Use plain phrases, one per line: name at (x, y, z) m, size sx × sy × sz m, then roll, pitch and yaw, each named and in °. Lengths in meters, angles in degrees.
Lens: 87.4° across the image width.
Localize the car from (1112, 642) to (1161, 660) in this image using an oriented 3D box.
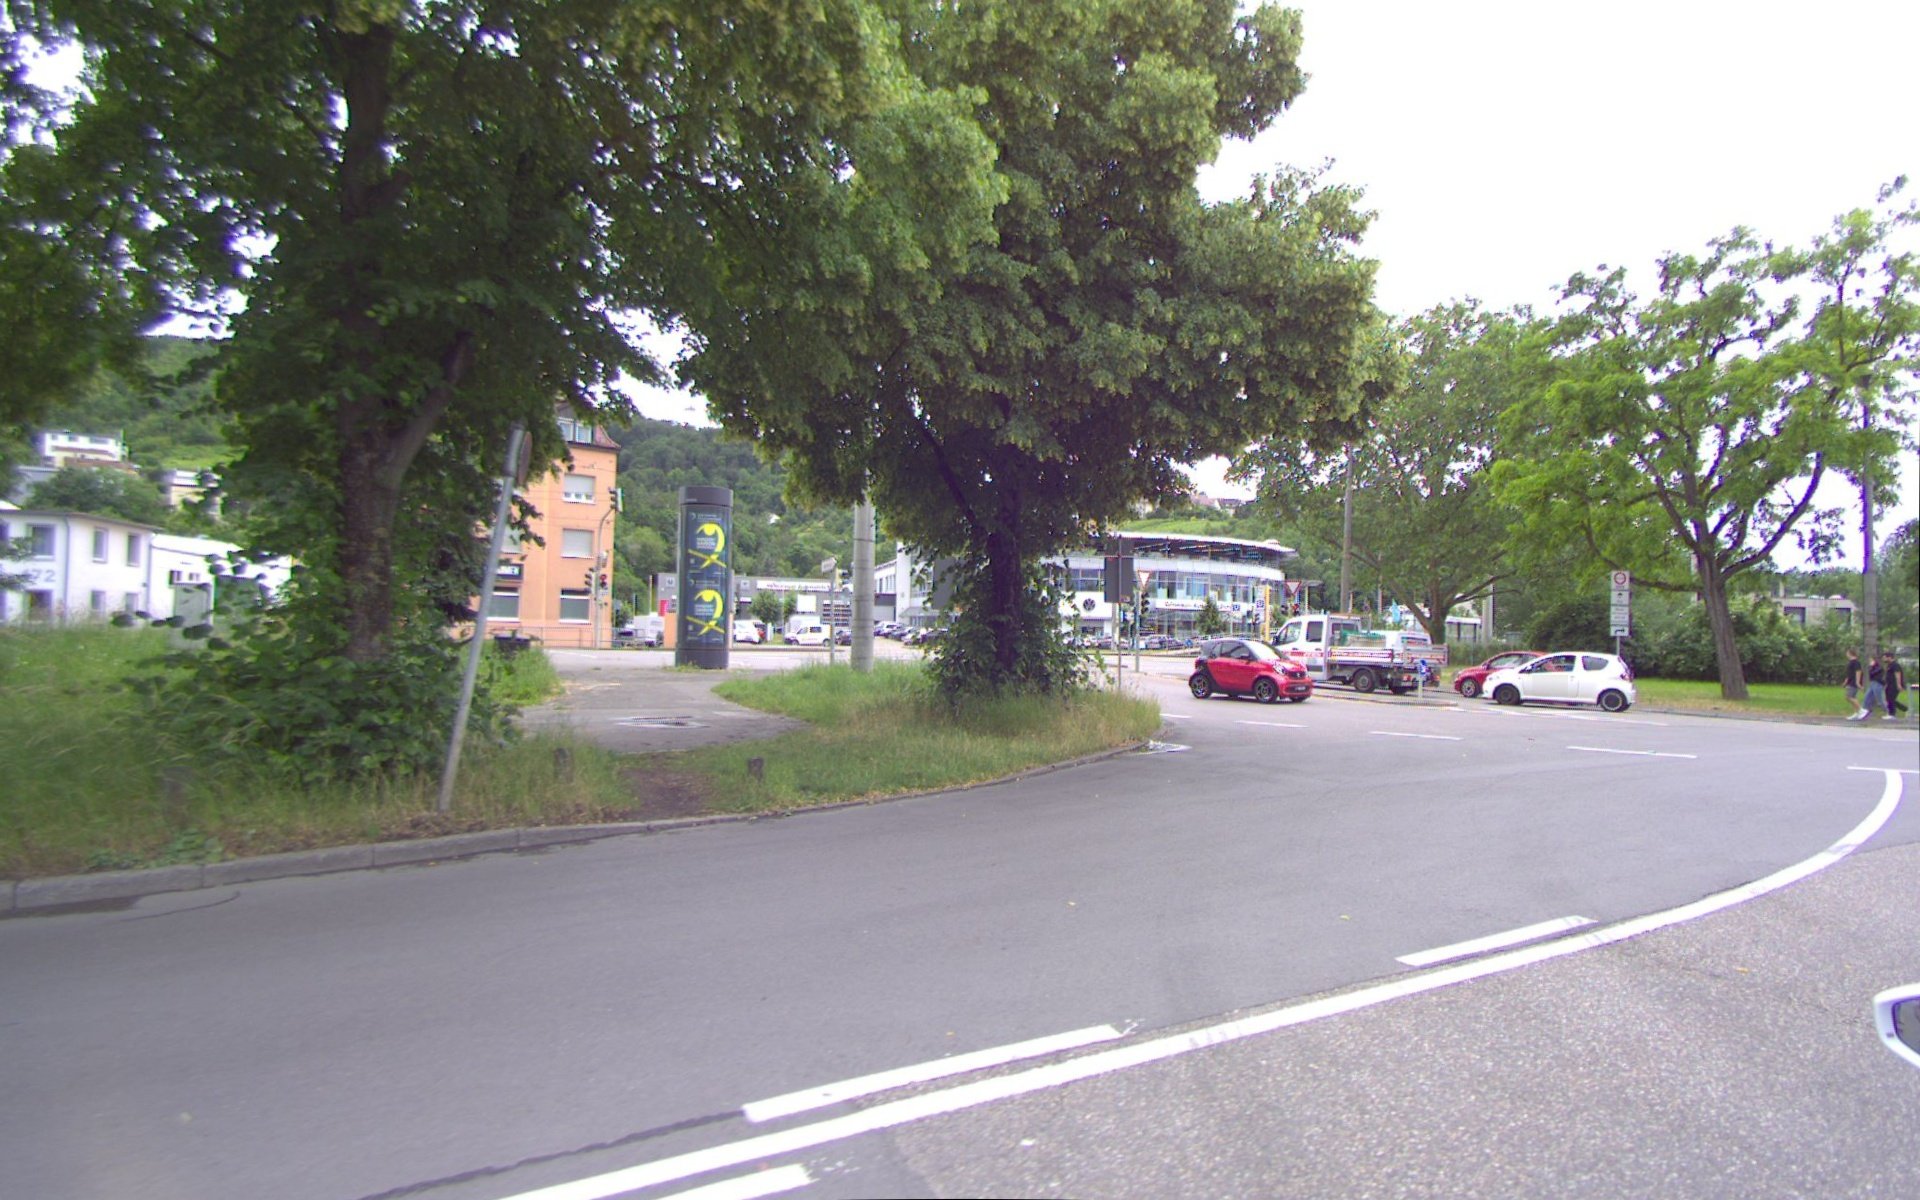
car at (17.537, 5.058, 99.708) m, size 4.436 × 1.714 × 1.990 m, roll -1°, pitch -3°, yaw 41°

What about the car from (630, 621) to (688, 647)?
car at (-26.698, 3.002, 89.136) m, size 2.234 × 2.234 × 4.484 m, roll -1°, pitch -3°, yaw 38°

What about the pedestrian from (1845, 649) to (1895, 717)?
pedestrian at (24.378, 2.200, 26.926) m, size 0.713 × 1.765 × 0.744 m, roll 0°, pitch -2°, yaw 16°

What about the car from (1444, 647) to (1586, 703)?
car at (16.536, 2.195, 30.049) m, size 1.624 × 1.497 × 3.374 m, roll 2°, pitch -2°, yaw -33°

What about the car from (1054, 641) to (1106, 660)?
car at (11.100, 4.654, 93.071) m, size 4.436 × 1.714 × 1.990 m, roll -1°, pitch -3°, yaw 41°

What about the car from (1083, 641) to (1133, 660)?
car at (14.189, 4.857, 96.375) m, size 4.436 × 1.714 × 1.990 m, roll -1°, pitch -3°, yaw 41°

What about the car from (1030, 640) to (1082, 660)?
car at (8.752, 4.558, 92.017) m, size 4.436 × 1.714 × 1.990 m, roll -1°, pitch -3°, yaw 41°

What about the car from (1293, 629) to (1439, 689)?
car at (14.139, 2.018, 35.352) m, size 2.017 × 1.967 × 4.974 m, roll 2°, pitch -2°, yaw -19°

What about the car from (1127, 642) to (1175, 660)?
car at (19.224, 5.153, 101.163) m, size 4.436 × 1.714 × 1.990 m, roll -1°, pitch -3°, yaw 41°

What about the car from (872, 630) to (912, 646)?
car at (-7.875, 4.428, 116.760) m, size 4.423 × 1.714 × 1.996 m, roll 1°, pitch -2°, yaw -11°

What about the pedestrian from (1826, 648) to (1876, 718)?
pedestrian at (23.268, 2.146, 26.243) m, size 0.713 × 1.765 × 0.744 m, roll 0°, pitch -2°, yaw 16°

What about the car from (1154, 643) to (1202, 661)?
car at (22.372, 5.311, 103.069) m, size 4.436 × 1.714 × 1.990 m, roll -1°, pitch -3°, yaw 41°

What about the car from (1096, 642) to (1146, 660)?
car at (15.682, 4.950, 98.002) m, size 4.436 × 1.714 × 1.990 m, roll -1°, pitch -3°, yaw 41°

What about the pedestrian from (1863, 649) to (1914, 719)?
pedestrian at (24.170, 2.175, 26.163) m, size 0.713 × 1.765 × 0.744 m, roll 0°, pitch -2°, yaw 16°

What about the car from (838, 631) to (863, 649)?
car at (-10.682, 3.878, 97.709) m, size 1.965 × 1.714 × 4.495 m, roll 1°, pitch -2°, yaw -11°

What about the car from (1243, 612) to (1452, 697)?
car at (12.046, 1.652, 31.735) m, size 2.367 × 2.419 × 6.041 m, roll 2°, pitch -2°, yaw -31°

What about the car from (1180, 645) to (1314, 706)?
car at (7.120, 1.837, 25.075) m, size 1.552 × 1.367 × 2.843 m, roll 3°, pitch -3°, yaw -42°

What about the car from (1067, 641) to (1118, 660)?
car at (12.506, 4.756, 94.709) m, size 4.436 × 1.714 × 1.990 m, roll -1°, pitch -3°, yaw 41°

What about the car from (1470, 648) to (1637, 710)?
car at (15.373, 2.005, 26.061) m, size 3.560 × 1.428 × 1.735 m, roll -1°, pitch -3°, yaw 38°

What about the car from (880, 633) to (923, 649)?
car at (-6.341, 4.480, 109.430) m, size 4.423 × 1.714 × 1.996 m, roll 1°, pitch -2°, yaw -11°

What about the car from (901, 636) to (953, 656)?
car at (-3.003, 4.126, 91.029) m, size 4.423 × 1.714 × 1.996 m, roll 1°, pitch -2°, yaw -11°

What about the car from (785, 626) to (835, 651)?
car at (-13.954, 3.547, 93.410) m, size 4.423 × 2.234 × 1.996 m, roll 1°, pitch -2°, yaw -11°

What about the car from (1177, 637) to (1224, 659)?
car at (25.469, 5.097, 106.225) m, size 4.436 × 2.247 × 1.990 m, roll -1°, pitch -3°, yaw 41°

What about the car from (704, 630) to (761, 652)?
car at (-18.678, 3.374, 82.657) m, size 4.423 × 1.705 × 1.996 m, roll 1°, pitch -2°, yaw -11°
